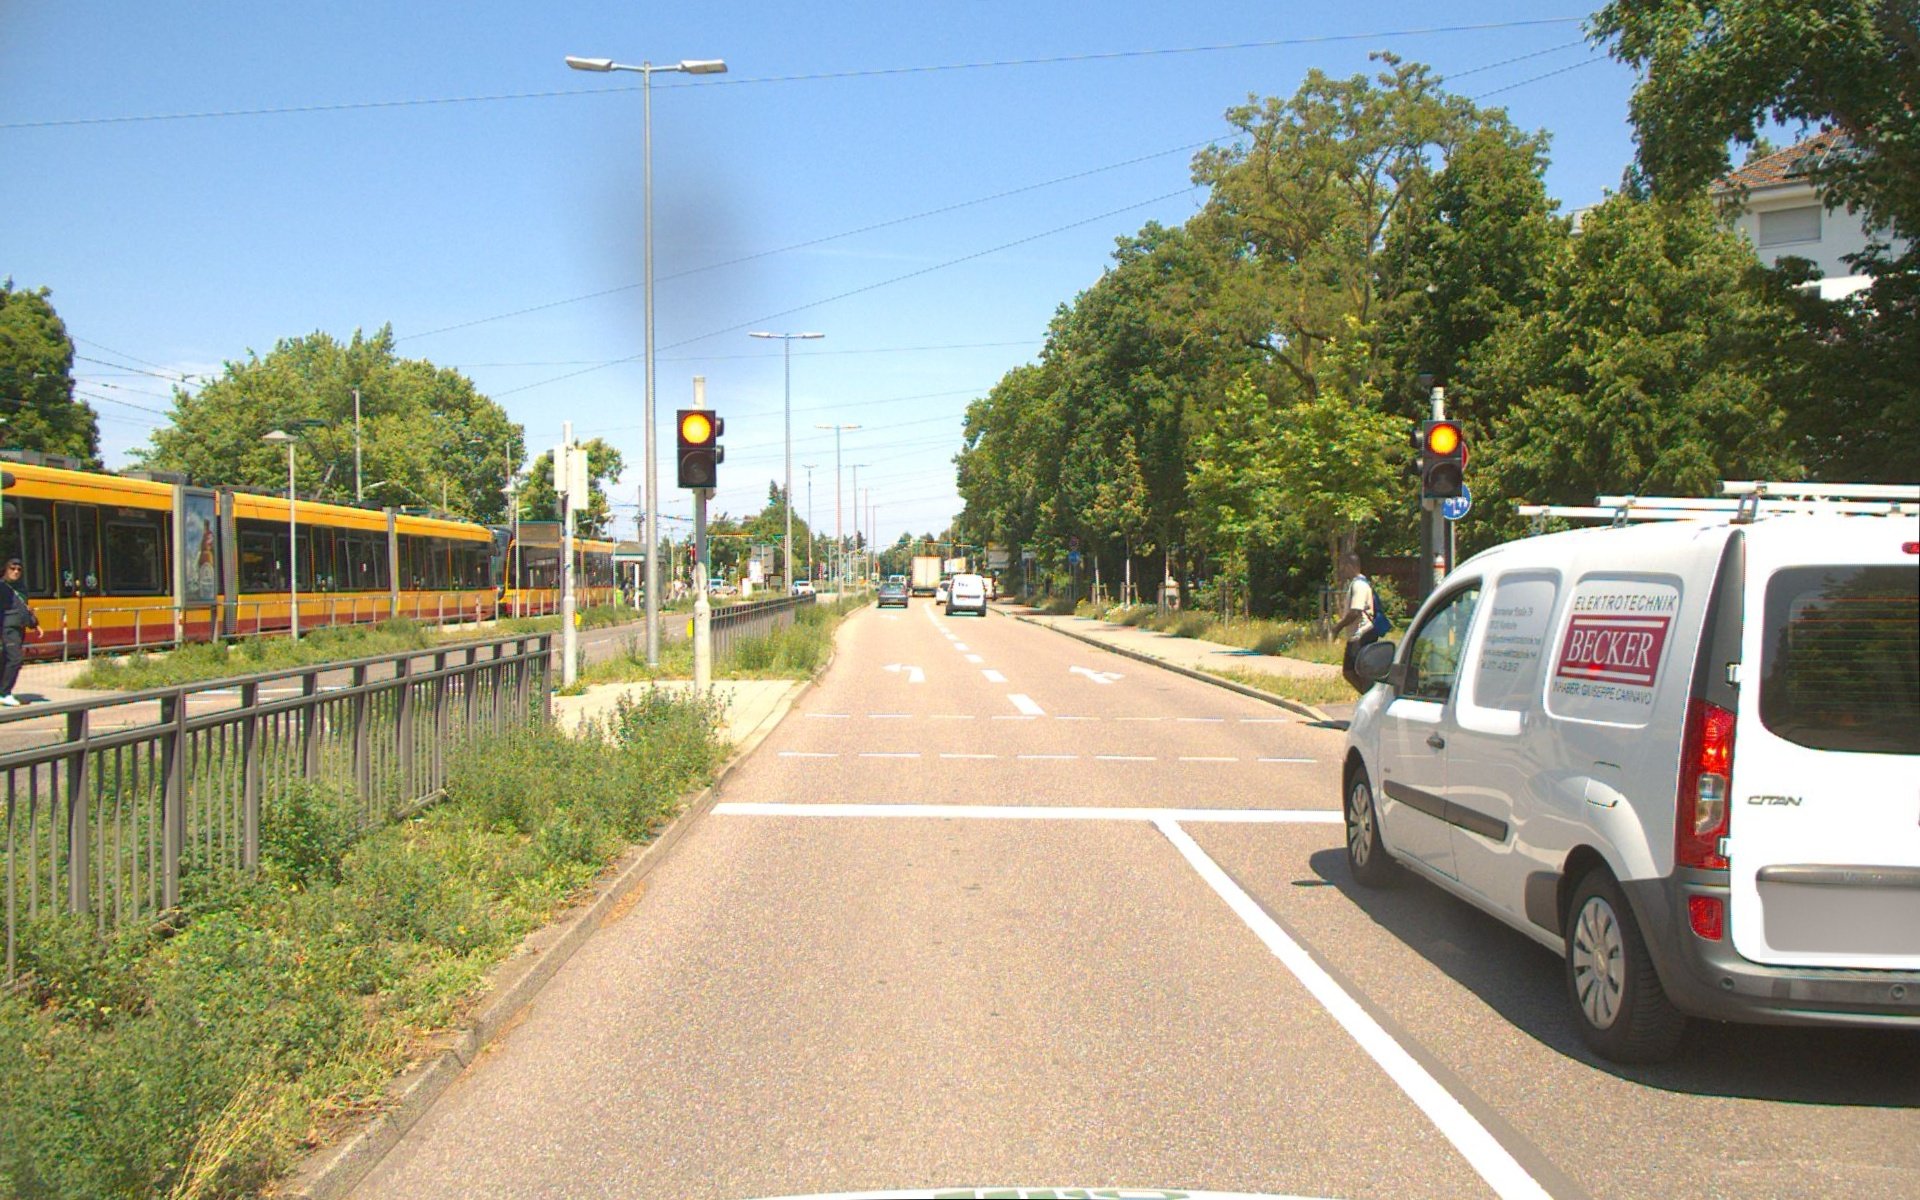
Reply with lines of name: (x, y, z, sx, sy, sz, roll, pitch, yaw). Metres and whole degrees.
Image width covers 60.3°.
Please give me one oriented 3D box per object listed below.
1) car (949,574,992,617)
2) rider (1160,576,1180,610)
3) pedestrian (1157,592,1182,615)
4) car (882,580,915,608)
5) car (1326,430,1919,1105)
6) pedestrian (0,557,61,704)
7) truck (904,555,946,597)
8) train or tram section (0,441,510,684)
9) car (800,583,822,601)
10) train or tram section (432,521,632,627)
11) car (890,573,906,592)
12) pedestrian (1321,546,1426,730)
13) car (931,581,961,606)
car: (0.498, -0.244, 74.271, 1.692, 1.845, 4.002, 1, 1, 3)
rider: (8.056, -0.255, 63.501, 0.664, 1.304, 0.533, 0, 0, -2)
pedestrian: (8.055, 0.130, 63.534, 0.664, 0.862, 1.773, 0, 1, -2)
car: (-3.400, -0.374, 91.590, 1.765, 1.512, 3.999, 0, 1, -2)
car: (2.976, 0.463, 6.951, 1.787, 1.914, 4.455, 1, 1, -1)
pedestrian: (-12.105, 0.372, 21.126, 0.939, 1.828, 0.704, 0, 0, 27)
truck: (-3.406, -2.271, 156.441, 3.821, 3.879, 10.788, 0, 1, -2)
train or tram section: (-16.618, -0.724, 39.524, 2.731, 3.732, 37.504, 0, 1, -2)
car: (-14.467, -0.779, 160.952, 1.953, 1.678, 3.999, 0, 1, -2)
train or tram section: (-17.646, -1.043, 71.259, 2.731, 3.732, 25.989, 0, 1, -2)
car: (-6.486, -1.817, 172.376, 1.654, 1.930, 3.869, 0, 1, -2)
pedestrian: (4.331, 0.382, 17.392, 1.024, 1.882, 0.758, 1, 0, 12)
car: (-0.912, -0.435, 104.891, 1.767, 1.566, 3.998, 0, 1, -3)
